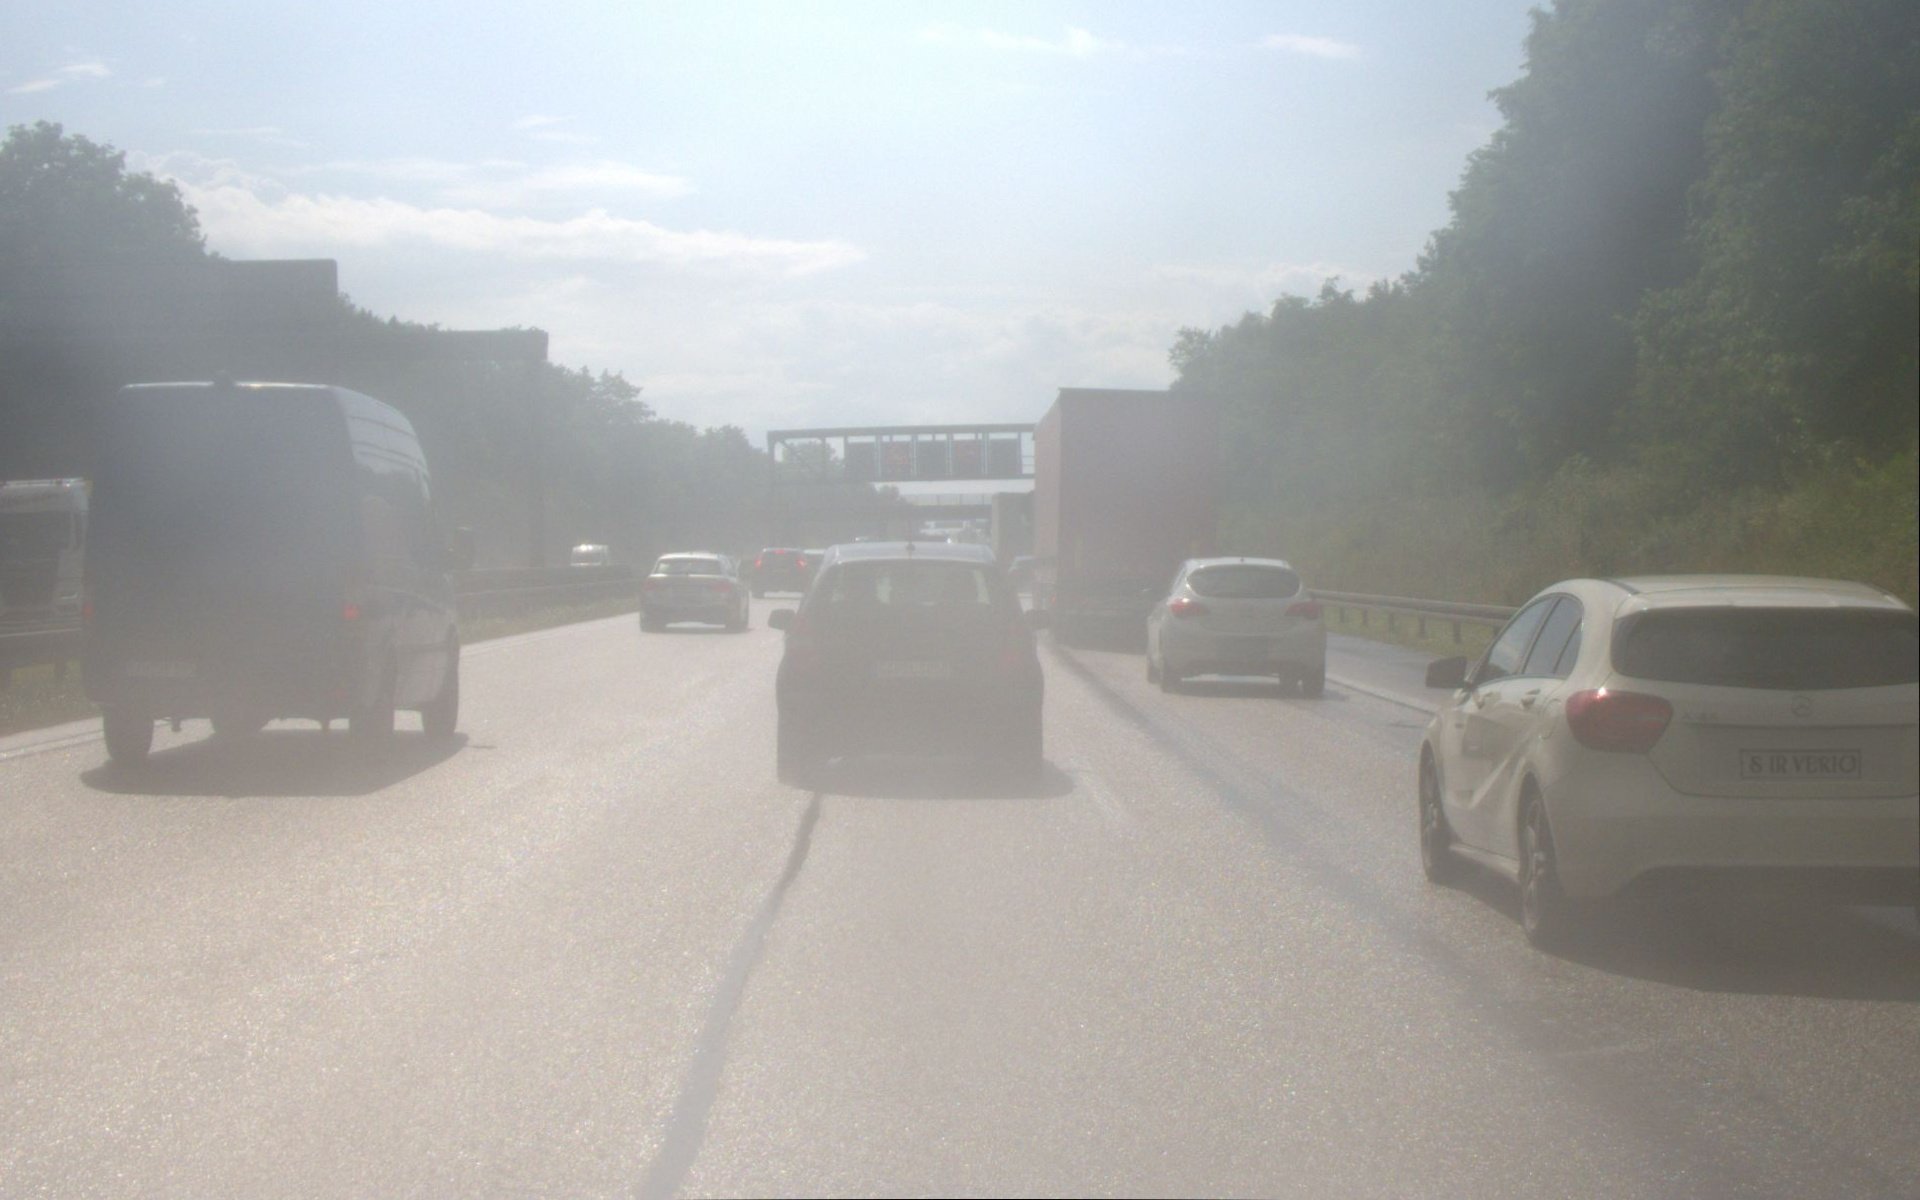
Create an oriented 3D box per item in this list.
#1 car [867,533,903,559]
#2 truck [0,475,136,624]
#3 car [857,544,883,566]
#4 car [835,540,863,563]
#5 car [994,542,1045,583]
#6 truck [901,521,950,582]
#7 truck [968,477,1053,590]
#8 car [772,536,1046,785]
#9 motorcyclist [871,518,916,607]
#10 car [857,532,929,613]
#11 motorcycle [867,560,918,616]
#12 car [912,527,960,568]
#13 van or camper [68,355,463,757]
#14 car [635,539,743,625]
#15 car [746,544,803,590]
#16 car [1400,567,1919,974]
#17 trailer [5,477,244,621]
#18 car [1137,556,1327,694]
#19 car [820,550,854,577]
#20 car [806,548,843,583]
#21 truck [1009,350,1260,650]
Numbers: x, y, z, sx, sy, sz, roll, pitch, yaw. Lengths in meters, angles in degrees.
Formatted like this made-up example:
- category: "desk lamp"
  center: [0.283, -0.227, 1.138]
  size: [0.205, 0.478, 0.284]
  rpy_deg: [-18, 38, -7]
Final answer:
- category: "car"
  center: [-4.983, -3.582, 229.458]
  size: [1.994, 1.695, 4.000]
  rpy_deg: [0, 1, 5]
- category: "truck"
  center: [-22.900, -1.286, 87.223]
  size: [2.722, 3.652, 5.332]
  rpy_deg: [1, 1, -1]
- category: "car"
  center: [-5.494, -2.738, 209.033]
  size: [1.549, 1.262, 3.485]
  rpy_deg: [1, 1, -2]
- category: "car"
  center: [-6.280, -2.743, 194.509]
  size: [1.549, 1.262, 3.485]
  rpy_deg: [1, 1, -2]
- category: "car"
  center: [2.021, -1.280, 117.425]
  size: [1.552, 1.378, 3.210]
  rpy_deg: [1, 1, -2]
- category: "truck"
  center: [-1.687, -2.331, 165.659]
  size: [2.192, 2.865, 4.850]
  rpy_deg: [1, 1, -2]
- category: "truck"
  center: [2.034, -2.742, 143.541]
  size: [3.256, 4.464, 12.422]
  rpy_deg: [1, 1, 0]
- category: "car"
  center: [-0.378, 0.356, 23.577]
  size: [1.717, 1.562, 3.485]
  rpy_deg: [1, 1, -2]
- category: "motorcyclist"
  center: [-1.234, -0.692, 63.530]
  size: [0.801, 1.627, 1.013]
  rpy_deg: [1, 1, -2]
- category: "car"
  center: [-1.505, -0.620, 76.340]
  size: [1.531, 1.740, 3.485]
  rpy_deg: [1, 1, -2]
- category: "motorcycle"
  center: [-1.257, -0.231, 63.581]
  size: [0.890, 0.997, 2.896]
  rpy_deg: [1, 1, -2]
- category: "car"
  center: [-0.821, -1.788, 116.967]
  size: [1.552, 1.378, 3.210]
  rpy_deg: [1, 1, -2]
- category: "van or camper"
  center: [-5.032, -0.332, 25.673]
  size: [1.993, 2.659, 5.385]
  rpy_deg: [1, 1, -2]
- category: "car"
  center: [-5.081, -0.359, 64.862]
  size: [1.854, 1.546, 3.485]
  rpy_deg: [1, 1, -2]
- category: "car"
  center: [-6.020, -1.093, 111.729]
  size: [1.751, 1.452, 3.390]
  rpy_deg: [1, 1, -2]
- category: "car"
  center: [2.960, 0.594, 14.433]
  size: [1.692, 1.420, 4.220]
  rpy_deg: [1, 1, 0]
- category: "trailer"
  center: [-22.948, -1.414, 95.653]
  size: [2.722, 3.632, 16.678]
  rpy_deg: [1, 1, -1]
- category: "car"
  center: [3.001, 0.240, 38.573]
  size: [1.680, 1.437, 3.905]
  rpy_deg: [1, 1, -2]
- category: "car"
  center: [-5.824, -1.728, 162.581]
  size: [1.549, 1.262, 3.485]
  rpy_deg: [1, 1, -2]
- category: "car"
  center: [-5.416, -1.383, 137.646]
  size: [1.460, 1.389, 3.312]
  rpy_deg: [1, 1, -2]
- category: "truck"
  center: [2.888, -1.712, 62.911]
  size: [3.650, 4.704, 16.779]
  rpy_deg: [1, 1, 0]
